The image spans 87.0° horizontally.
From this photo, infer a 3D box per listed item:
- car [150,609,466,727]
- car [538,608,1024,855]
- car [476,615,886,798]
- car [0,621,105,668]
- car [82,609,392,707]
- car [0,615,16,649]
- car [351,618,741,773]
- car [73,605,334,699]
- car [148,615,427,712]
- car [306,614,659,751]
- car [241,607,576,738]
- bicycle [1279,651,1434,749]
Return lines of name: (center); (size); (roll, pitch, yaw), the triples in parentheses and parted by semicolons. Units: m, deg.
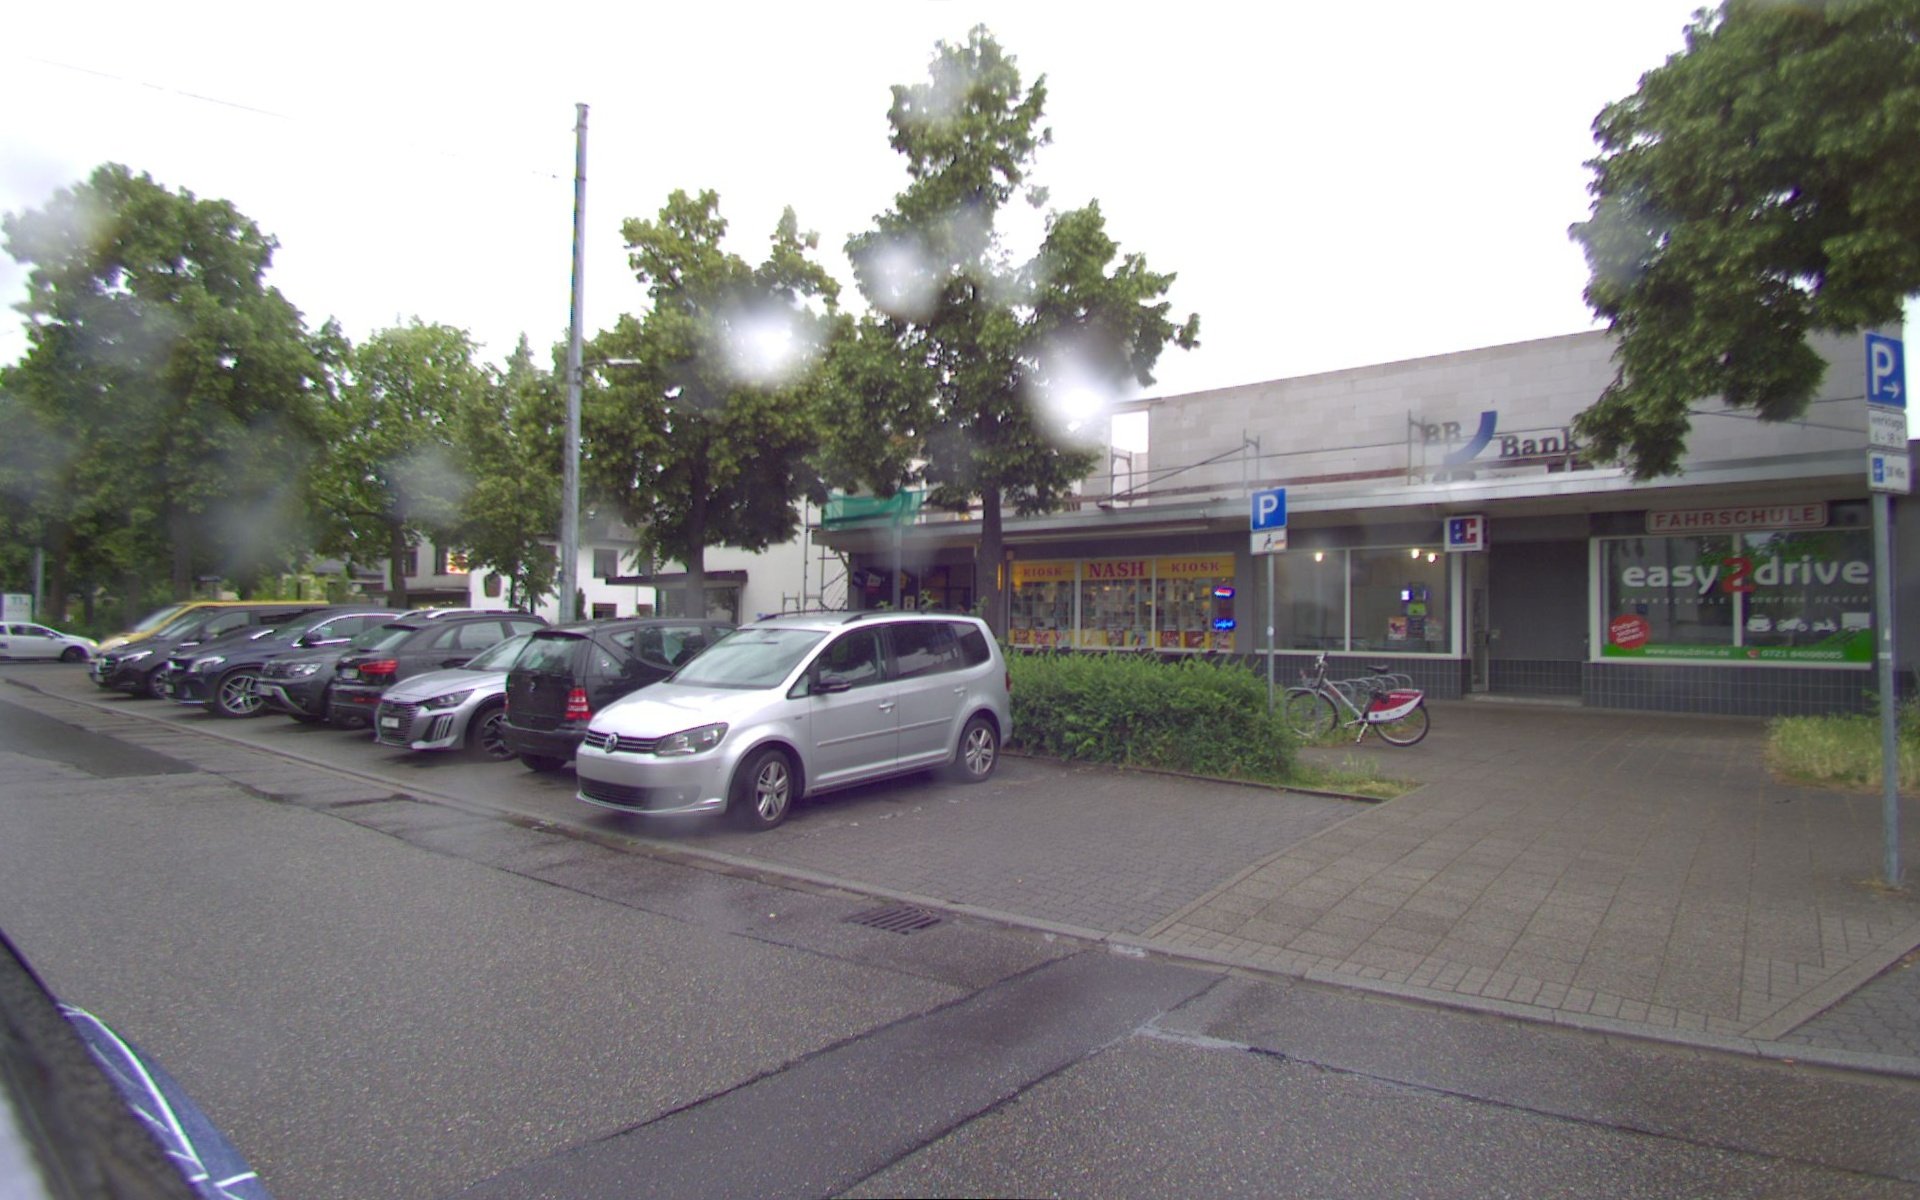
car: (-10.968, 1.039, 17.301); (1.713, 1.740, 4.231); (-1, -1, 38)
car: (-1.321, 0.903, 9.003); (1.713, 1.647, 4.231); (-1, -1, 38)
car: (-2.839, 0.975, 11.150); (1.633, 1.577, 4.231); (-1, 0, 38)
car: (-31.682, 1.484, 34.038); (1.998, 1.465, 4.201); (-1, 0, 39)
car: (-15.140, 1.111, 21.508); (1.713, 1.813, 5.114); (-1, -1, 38)
car: (-49.766, 1.634, 50.256); (1.997, 1.698, 3.950); (-1, 0, 37)
car: (-4.943, 1.017, 12.617); (1.713, 1.544, 4.231); (-1, -1, 38)
car: (-17.446, 1.105, 23.570); (1.713, 1.973, 4.600); (-1, -1, 38)
car: (-12.971, 1.137, 19.755); (1.713, 1.639, 4.231); (-1, -1, 38)
car: (-6.574, 1.025, 14.353); (1.713, 1.607, 4.231); (-1, -1, 38)
car: (-8.339, 0.983, 15.648); (1.713, 1.740, 4.231); (-1, -1, 38)
bicycle: (4.818, 1.196, 12.355); (1.739, 1.115, 0.316); (-1, 0, 25)
